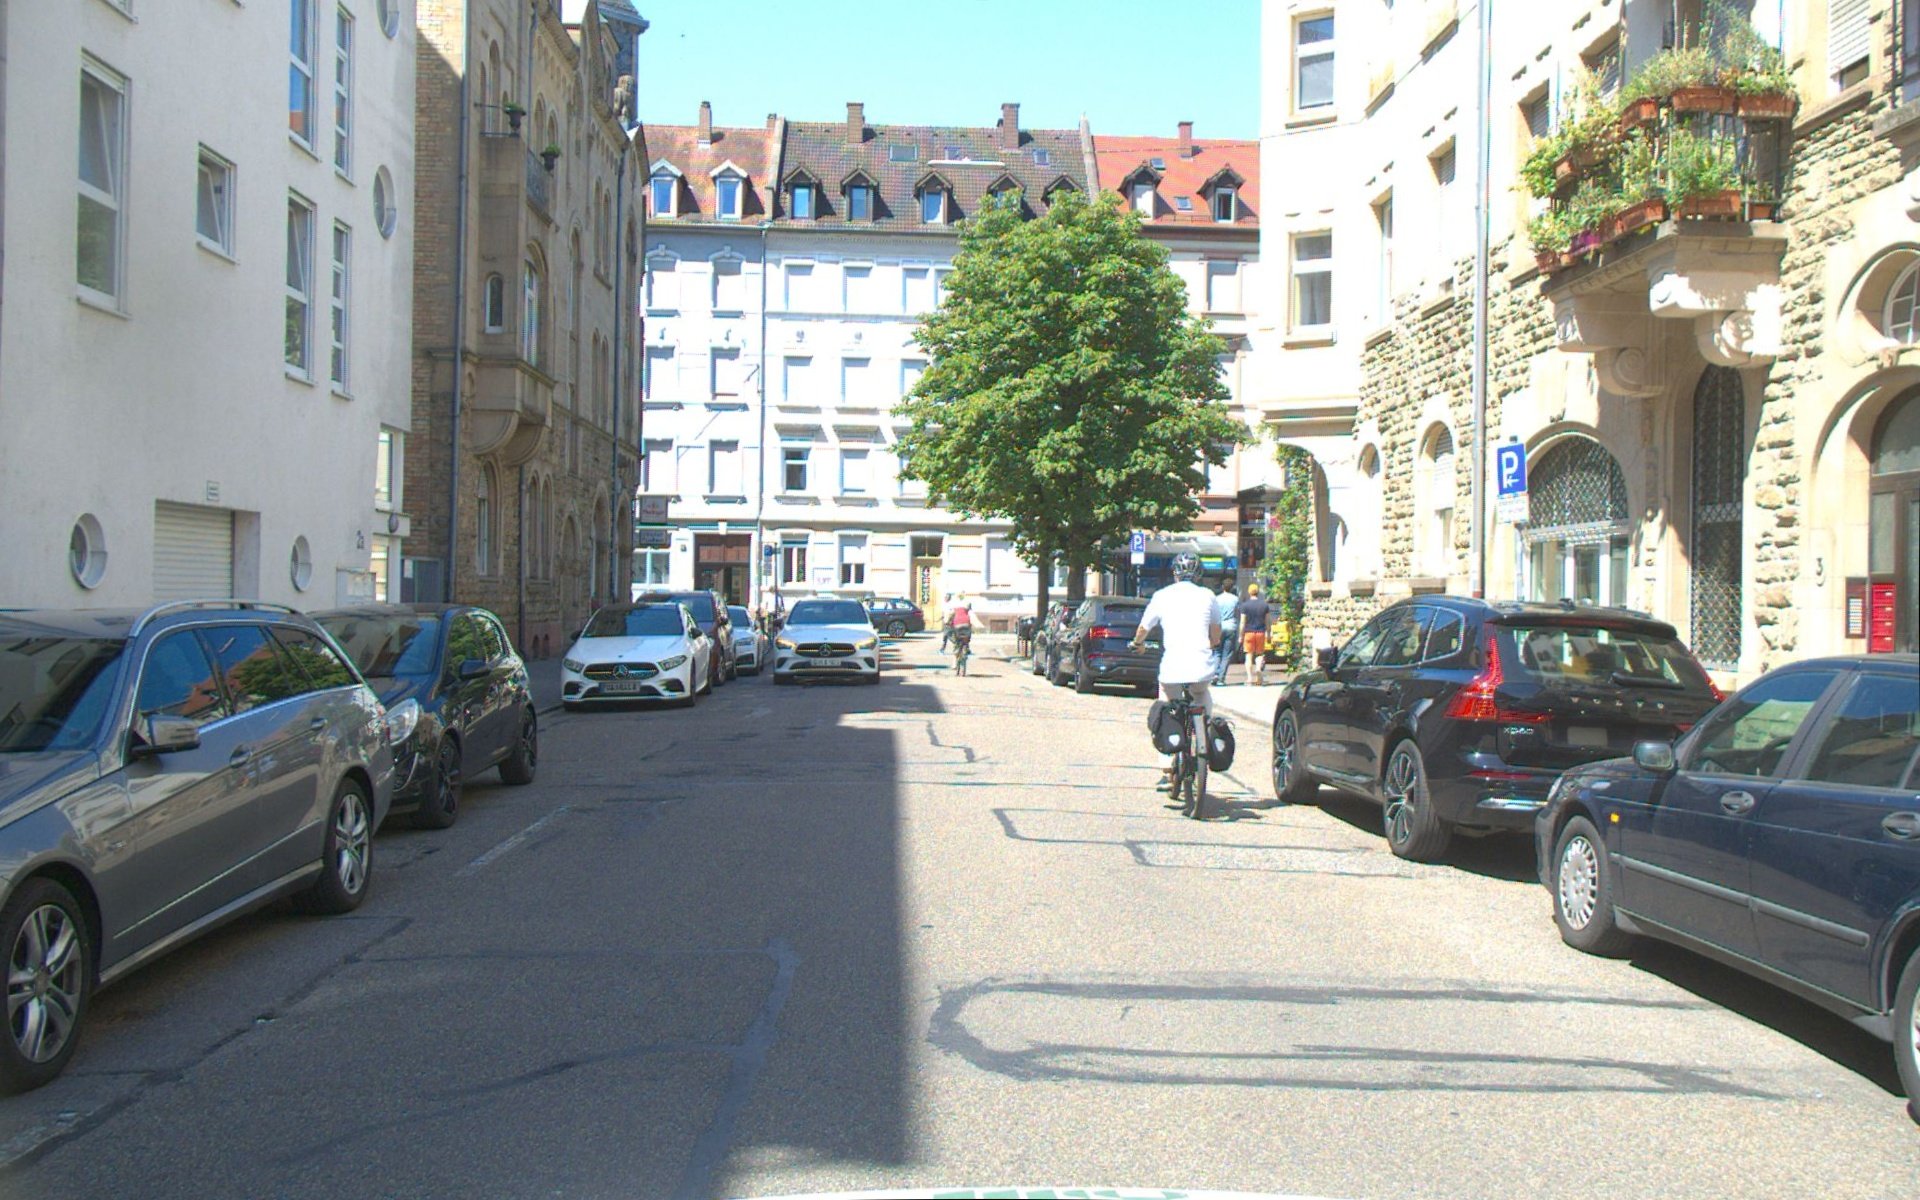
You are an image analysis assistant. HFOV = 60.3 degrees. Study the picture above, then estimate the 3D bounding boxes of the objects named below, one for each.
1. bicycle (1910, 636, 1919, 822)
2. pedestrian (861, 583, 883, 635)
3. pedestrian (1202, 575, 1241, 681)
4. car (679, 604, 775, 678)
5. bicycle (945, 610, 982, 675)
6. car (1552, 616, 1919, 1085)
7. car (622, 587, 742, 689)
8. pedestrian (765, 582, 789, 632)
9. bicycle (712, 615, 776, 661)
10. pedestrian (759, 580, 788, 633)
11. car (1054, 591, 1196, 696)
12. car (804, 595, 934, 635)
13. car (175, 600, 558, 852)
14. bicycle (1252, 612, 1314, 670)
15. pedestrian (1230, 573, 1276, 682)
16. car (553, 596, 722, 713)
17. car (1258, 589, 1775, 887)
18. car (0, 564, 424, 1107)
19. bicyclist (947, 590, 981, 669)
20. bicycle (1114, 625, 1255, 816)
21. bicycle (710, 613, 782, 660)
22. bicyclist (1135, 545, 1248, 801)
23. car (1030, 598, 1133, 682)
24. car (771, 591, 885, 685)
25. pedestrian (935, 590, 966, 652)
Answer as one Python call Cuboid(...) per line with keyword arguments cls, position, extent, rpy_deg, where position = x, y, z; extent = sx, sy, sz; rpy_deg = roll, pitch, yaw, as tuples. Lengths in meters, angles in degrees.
Cuboid(cls="bicycle", position=(6.576, 0.857, 10.226), extent=(0.376, 1.229, 1.775), rpy_deg=(0, 0, -1))
Cuboid(cls="pedestrian", position=(-3.234, 0.344, 60.483), extent=(0.712, 1.886, 0.683), rpy_deg=(0, -1, -12))
Cuboid(cls="pedestrian", position=(4.738, 0.503, 29.907), extent=(0.508, 1.901, 0.653), rpy_deg=(1, -1, 25))
Cuboid(cls="car", position=(-4.730, 0.789, 34.047), extent=(1.668, 1.376, 4.511), rpy_deg=(-1, 0, -5))
Cuboid(cls="bicycle", position=(0.061, 0.825, 33.144), extent=(0.638, 1.230, 2.441), rpy_deg=(2, 0, -1))
Cuboid(cls="car", position=(3.703, 0.850, 5.853), extent=(1.483, 1.423, 3.969), rpy_deg=(5, 0, -4))
Cuboid(cls="car", position=(-4.784, 0.624, 28.904), extent=(1.639, 1.610, 4.049), rpy_deg=(-1, 0, -4))
Cuboid(cls="pedestrian", position=(-6.860, 0.262, 61.923), extent=(0.884, 1.846, 0.959), rpy_deg=(0, 0, -7))
Cuboid(cls="bicycle", position=(-5.308, 0.933, 40.651), extent=(1.496, 1.025, 0.366), rpy_deg=(3, -1, -7))
Cuboid(cls="pedestrian", position=(-6.863, 0.246, 60.982), extent=(0.832, 1.922, 0.936), rpy_deg=(0, 0, 8))
Cuboid(cls="car", position=(2.796, 0.703, 28.955), extent=(1.701, 1.624, 4.344), rpy_deg=(3, 0, -4))
Cuboid(cls="car", position=(-3.386, 0.568, 61.815), extent=(4.762, 1.462, 1.999), rpy_deg=(0, 0, -3))
Cuboid(cls="car", position=(-4.155, 0.785, 12.209), extent=(1.536, 1.518, 3.892), rpy_deg=(-1, 0, -2))
Cuboid(cls="bicycle", position=(6.933, 0.849, 35.397), extent=(0.778, 1.189, 2.577), rpy_deg=(0, 0, 24))
Cuboid(cls="pedestrian", position=(5.238, 0.485, 29.557), extent=(0.587, 1.913, 0.882), rpy_deg=(1, -1, 24))
Cuboid(cls="car", position=(-4.535, 0.721, 23.833), extent=(1.741, 1.485, 4.277), rpy_deg=(-1, 0, -2))
Cuboid(cls="car", position=(3.550, 0.781, 11.580), extent=(1.797, 1.594, 4.602), rpy_deg=(3, 0, -3))
Cuboid(cls="car", position=(-3.635, 0.694, 6.601), extent=(1.623, 1.545, 4.669), rpy_deg=(-1, 0, -2))
Cuboid(cls="bicyclist", position=(0.076, 0.586, 33.087), extent=(0.657, 1.560, 0.609), rpy_deg=(0, -1, -1))
Cuboid(cls="bicycle", position=(1.648, 0.839, 12.499), extent=(0.638, 1.250, 2.441), rpy_deg=(2, 0, -1))
Cuboid(cls="bicycle", position=(-5.197, 0.885, 40.143), extent=(1.672, 1.063, 0.413), rpy_deg=(3, -1, -7))
Cuboid(cls="bicyclist", position=(1.672, 0.518, 12.034), extent=(0.657, 1.791, 0.609), rpy_deg=(3, -1, -1))
Cuboid(cls="car", position=(2.467, 0.790, 34.411), extent=(1.630, 1.567, 4.176), rpy_deg=(3, 0, -2))
Cuboid(cls="car", position=(-2.244, 0.625, 29.092), extent=(1.804, 1.486, 4.360), rpy_deg=(-1, 0, -2))
Cuboid(cls="pedestrian", position=(-0.265, 0.579, 46.204), extent=(0.840, 1.701, 0.774), rpy_deg=(0, 0, -2))
